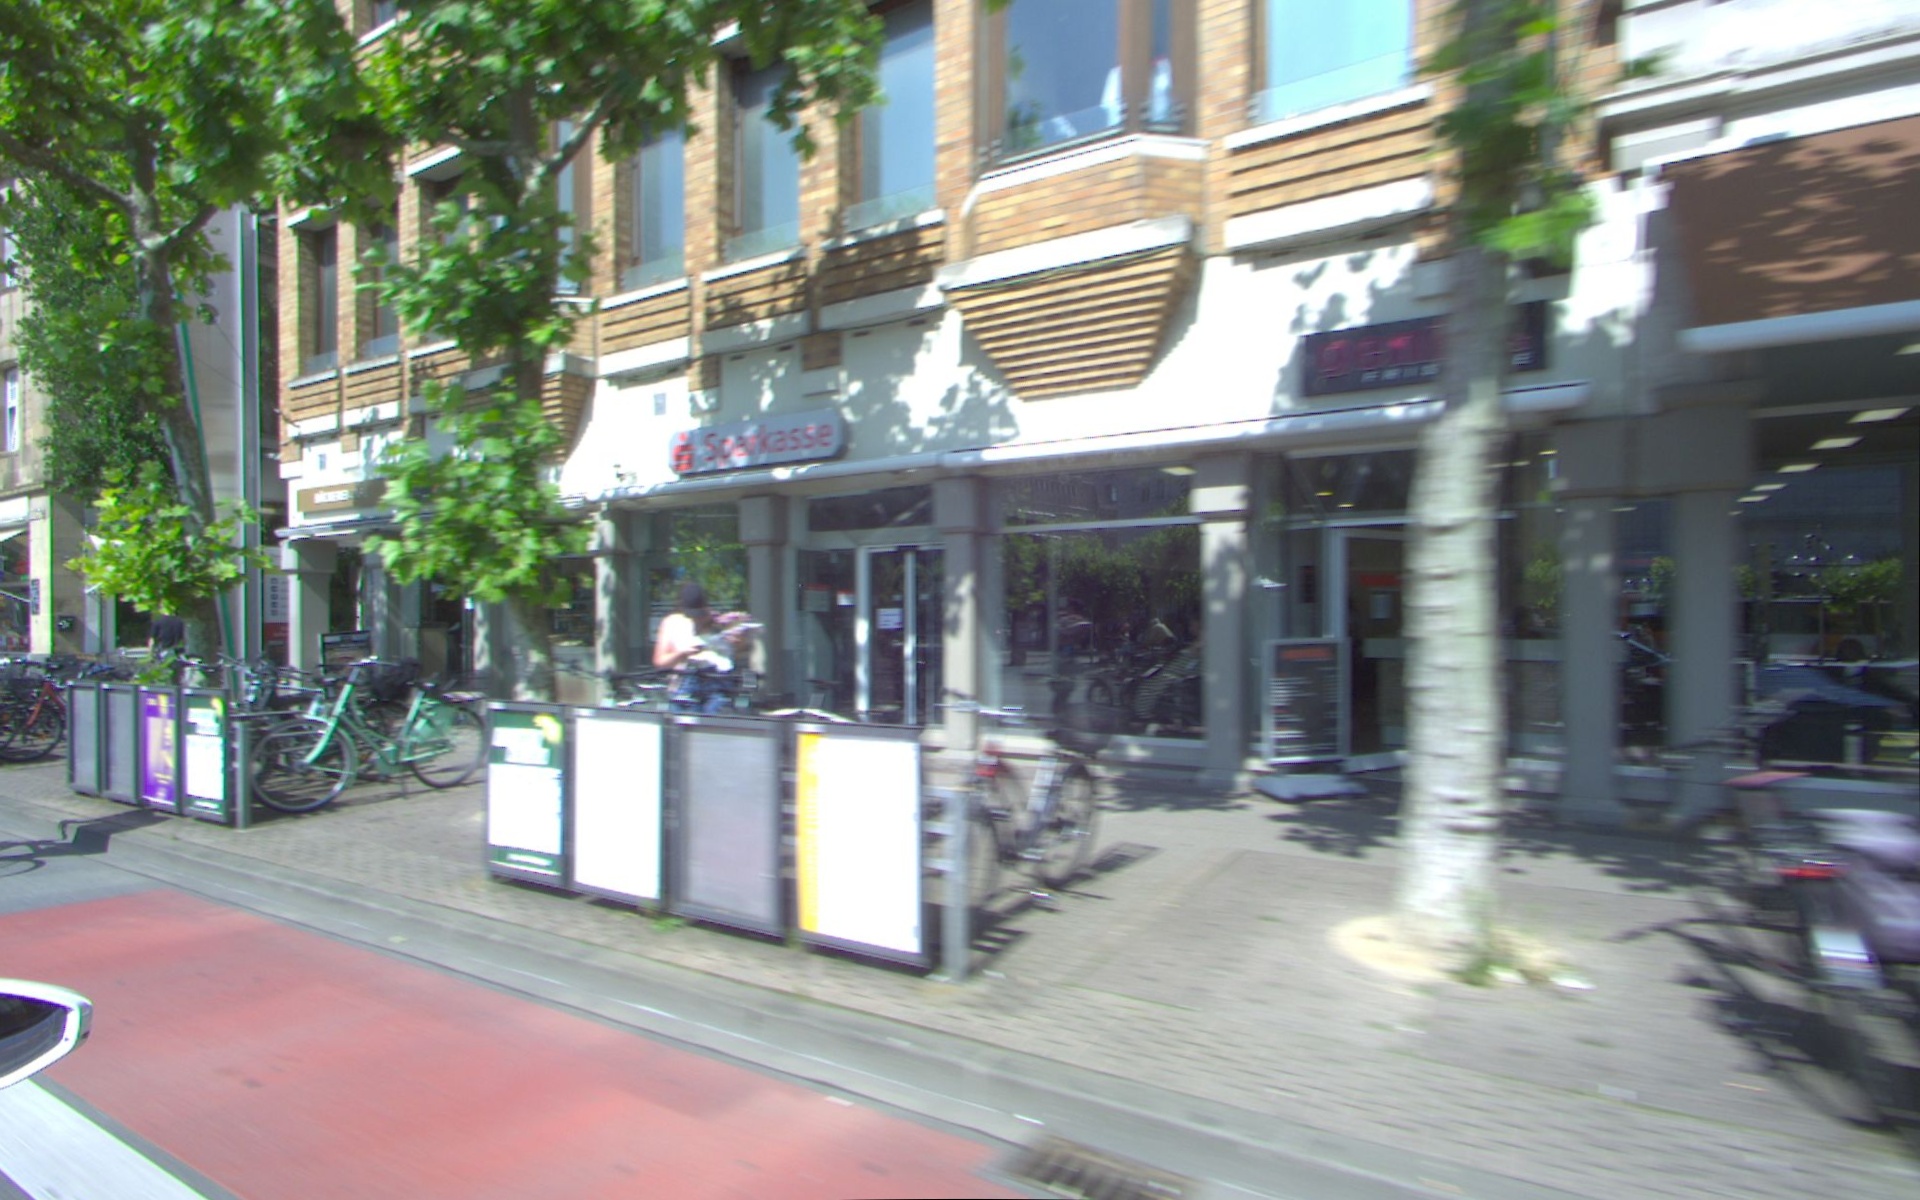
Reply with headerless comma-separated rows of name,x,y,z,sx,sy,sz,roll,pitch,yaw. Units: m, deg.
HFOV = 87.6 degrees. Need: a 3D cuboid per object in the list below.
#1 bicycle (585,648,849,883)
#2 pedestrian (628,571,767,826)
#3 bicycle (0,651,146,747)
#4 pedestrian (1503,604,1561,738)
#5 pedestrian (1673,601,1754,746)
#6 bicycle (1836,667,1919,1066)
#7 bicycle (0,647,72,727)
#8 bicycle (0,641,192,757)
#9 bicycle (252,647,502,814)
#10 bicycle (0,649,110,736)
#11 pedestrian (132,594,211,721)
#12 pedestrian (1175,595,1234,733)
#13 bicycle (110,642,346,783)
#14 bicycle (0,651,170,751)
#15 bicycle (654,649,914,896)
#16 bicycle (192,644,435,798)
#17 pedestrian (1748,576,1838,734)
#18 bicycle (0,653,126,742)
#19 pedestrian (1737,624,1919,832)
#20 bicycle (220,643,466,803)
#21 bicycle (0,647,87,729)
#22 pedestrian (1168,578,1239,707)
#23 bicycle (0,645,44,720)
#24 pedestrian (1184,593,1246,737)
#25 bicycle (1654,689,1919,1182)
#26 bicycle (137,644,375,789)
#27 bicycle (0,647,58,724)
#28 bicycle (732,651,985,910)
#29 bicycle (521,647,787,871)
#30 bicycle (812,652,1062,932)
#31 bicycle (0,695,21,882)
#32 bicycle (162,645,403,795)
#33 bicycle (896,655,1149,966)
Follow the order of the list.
bicycle,-1.381,0.895,6.039,0.475,1.162,1.750,0,-1,30
pedestrian,-1.835,0.657,6.991,0.648,1.654,0.724,2,-2,-42
bicycle,-10.752,1.147,11.806,0.475,1.031,1.751,0,-1,30
pedestrian,6.162,0.756,10.801,0.517,1.404,0.413,0,-2,27
pedestrian,7.476,0.725,9.947,0.516,1.404,0.414,1,-2,-15
bicycle,3.241,0.847,3.085,0.475,1.202,1.750,0,-1,30
bicycle,-12.902,1.155,13.194,0.475,1.031,1.751,0,-1,30
bicycle,-9.695,1.058,11.167,0.475,1.162,1.750,0,-1,30
bicycle,-4.654,0.985,8.130,0.475,1.162,1.750,0,-1,30
bicycle,-11.836,1.151,12.552,0.475,1.031,1.751,0,-1,30
pedestrian,-11.576,0.823,14.706,0.972,1.804,0.665,0,0,36
pedestrian,2.578,0.667,10.551,0.517,1.404,0.413,0,-2,27
bicycle,-6.796,0.997,9.401,0.475,1.162,1.750,0,-1,30
bicycle,-10.205,1.129,11.488,0.475,1.031,1.751,0,-1,30
bicycle,-0.936,0.891,5.799,0.475,1.162,1.750,0,-1,30
bicycle,-5.518,0.978,8.671,0.475,1.162,1.750,0,-1,30
pedestrian,7.639,0.504,9.193,0.516,1.404,0.414,1,-2,-15
bicycle,-11.255,1.169,12.131,0.475,0.998,1.715,0,-1,30
pedestrian,5.616,0.805,6.496,0.715,1.268,0.591,1,-2,-14
bicycle,-5.099,0.963,8.405,0.475,1.162,1.750,0,-1,30
bicycle,-12.453,1.140,12.916,0.475,1.031,1.751,0,-1,30
pedestrian,2.902,0.504,11.903,0.636,1.474,0.596,0,-2,36
bicycle,-13.773,1.153,13.722,0.475,1.031,1.751,0,-1,30
pedestrian,2.574,0.646,10.094,0.517,1.404,0.413,0,-2,27
bicycle,2.736,0.932,3.395,0.475,1.138,1.750,0,-1,30
bicycle,-6.365,1.000,9.158,0.475,1.162,1.750,0,-1,30
bicycle,-13.338,1.167,13.460,0.475,1.031,1.751,0,-1,30
bicycle,-0.483,0.887,5.563,0.475,1.162,1.750,0,-1,30
bicycle,-1.837,0.899,6.282,0.475,1.162,1.750,0,-1,30
bicycle,-0.039,0.881,5.235,0.475,1.162,1.750,0,-1,30
bicycle,-6.816,1.139,6.314,2.099,1.106,0.733,0,-2,31
bicycle,-5.949,0.999,8.906,0.475,1.162,1.750,0,-1,30
bicycle,0.381,0.873,4.809,0.492,1.162,1.750,0,-1,30
